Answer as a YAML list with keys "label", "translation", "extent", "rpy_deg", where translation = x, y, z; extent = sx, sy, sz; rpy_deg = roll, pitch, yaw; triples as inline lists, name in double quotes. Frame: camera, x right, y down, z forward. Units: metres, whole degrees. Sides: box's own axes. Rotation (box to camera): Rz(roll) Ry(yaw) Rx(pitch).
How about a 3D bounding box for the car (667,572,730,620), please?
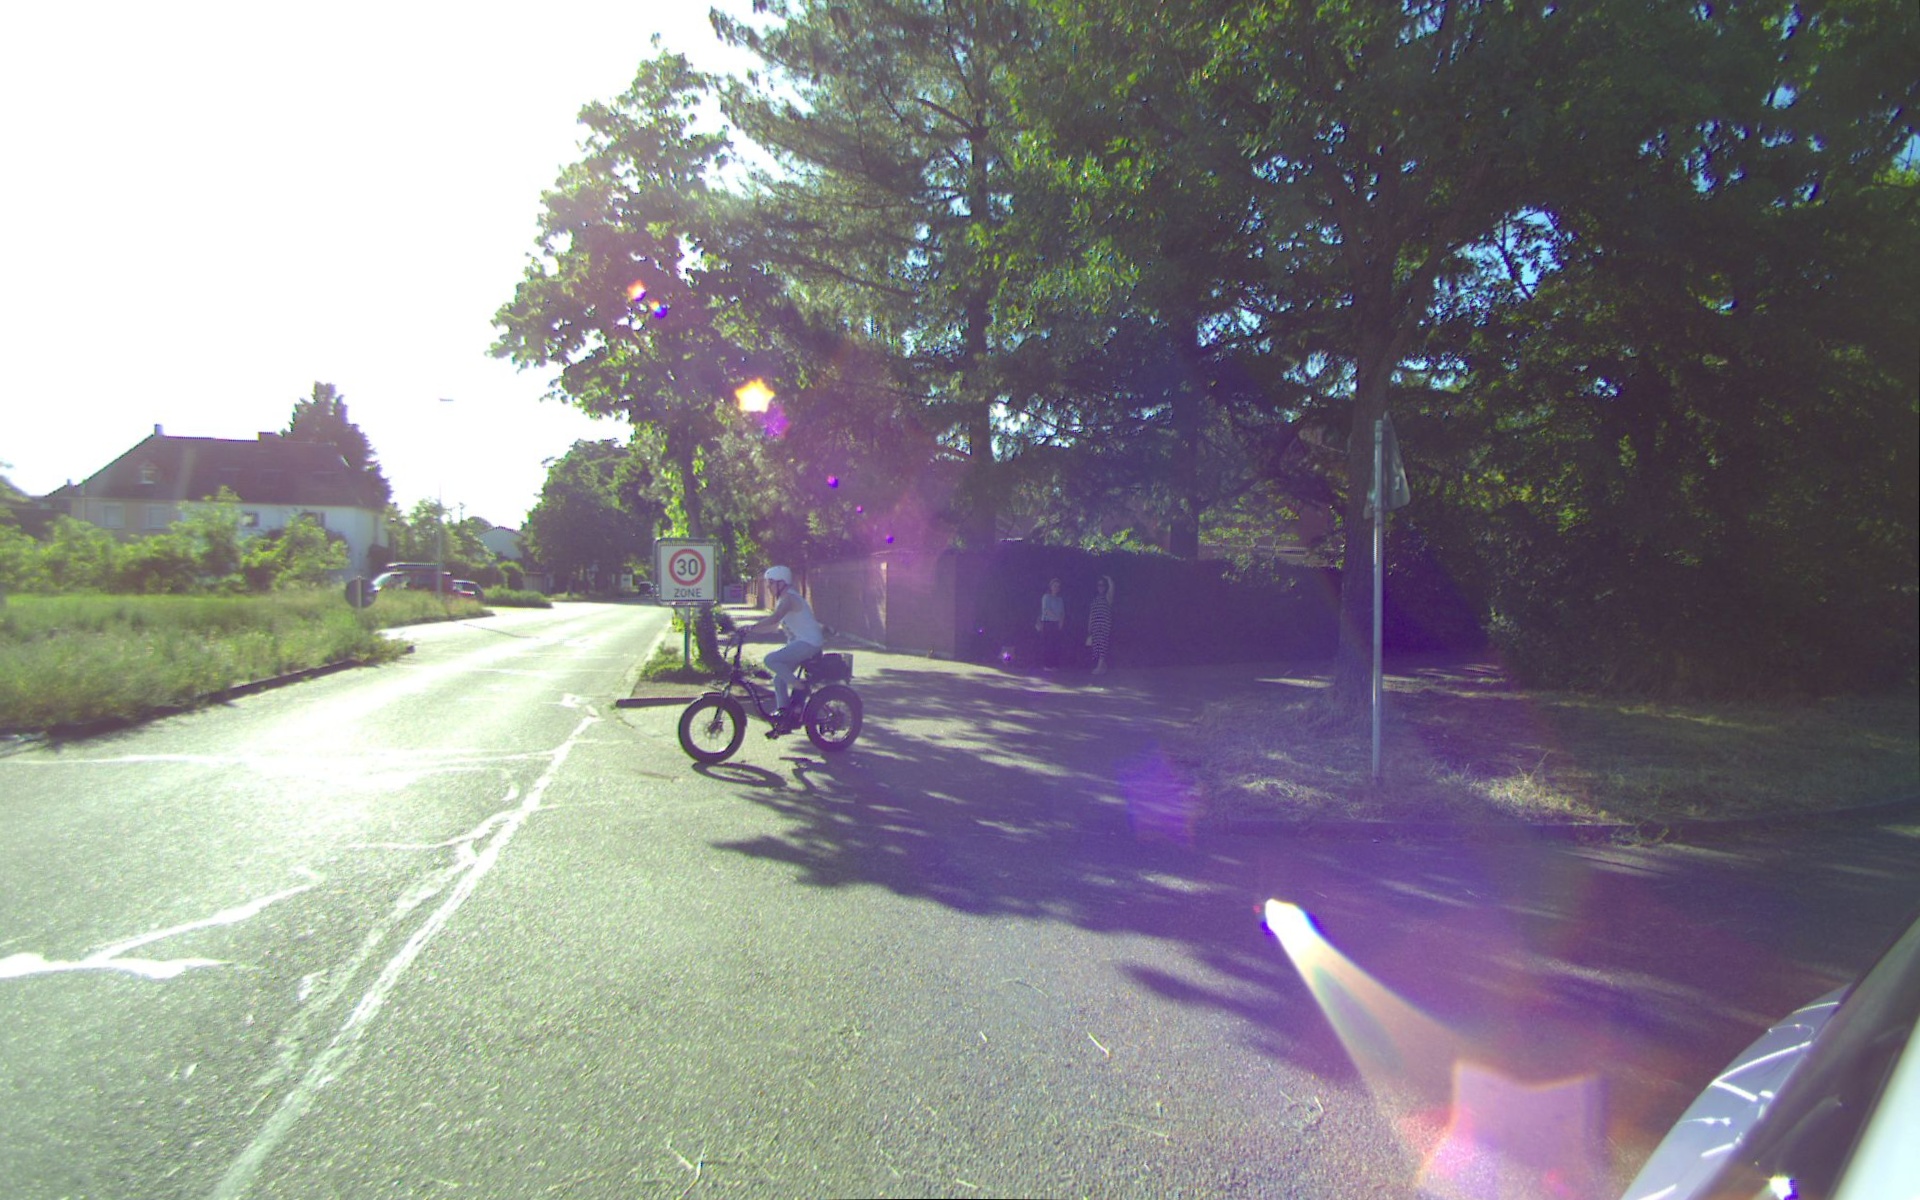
- label: "car"
  translation: [-9.956, -0.193, 38.335]
  extent: [1.958, 1.679, 4.009]
  rpy_deg: [0, 1, -20]

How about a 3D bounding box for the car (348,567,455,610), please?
- label: "car"
  translation: [-23.498, -0.509, 42.640]
  extent: [1.740, 1.738, 3.598]
  rpy_deg: [2, 2, 39]

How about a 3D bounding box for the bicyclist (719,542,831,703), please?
- label: "bicyclist"
  translation: [-1.660, 0.184, 9.041]
  extent: [0.821, 1.364, 0.639]
  rpy_deg: [0, 1, -28]

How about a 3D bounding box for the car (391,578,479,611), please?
- label: "car"
  translation: [-23.715, -0.263, 45.744]
  extent: [3.331, 1.459, 1.615]
  rpy_deg: [0, 2, -37]

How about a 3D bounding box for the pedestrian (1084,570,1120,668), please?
- label: "pedestrian"
  translation: [2.340, 0.301, 16.719]
  extent: [0.388, 1.580, 0.540]
  rpy_deg: [1, 1, -12]

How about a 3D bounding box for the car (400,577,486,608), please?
- label: "car"
  translation: [-24.863, -0.373, 48.734]
  extent: [3.470, 1.434, 1.680]
  rpy_deg: [0, 2, -37]

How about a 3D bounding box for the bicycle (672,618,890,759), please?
- label: "bicycle"
  translation: [-1.584, 0.752, 9.095]
  extent: [1.859, 1.159, 0.459]
  rpy_deg: [1, 1, -28]

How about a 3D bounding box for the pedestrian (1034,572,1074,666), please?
- label: "pedestrian"
  translation: [1.559, 0.303, 16.808]
  extent: [0.529, 1.539, 0.396]
  rpy_deg: [0, 1, -39]
